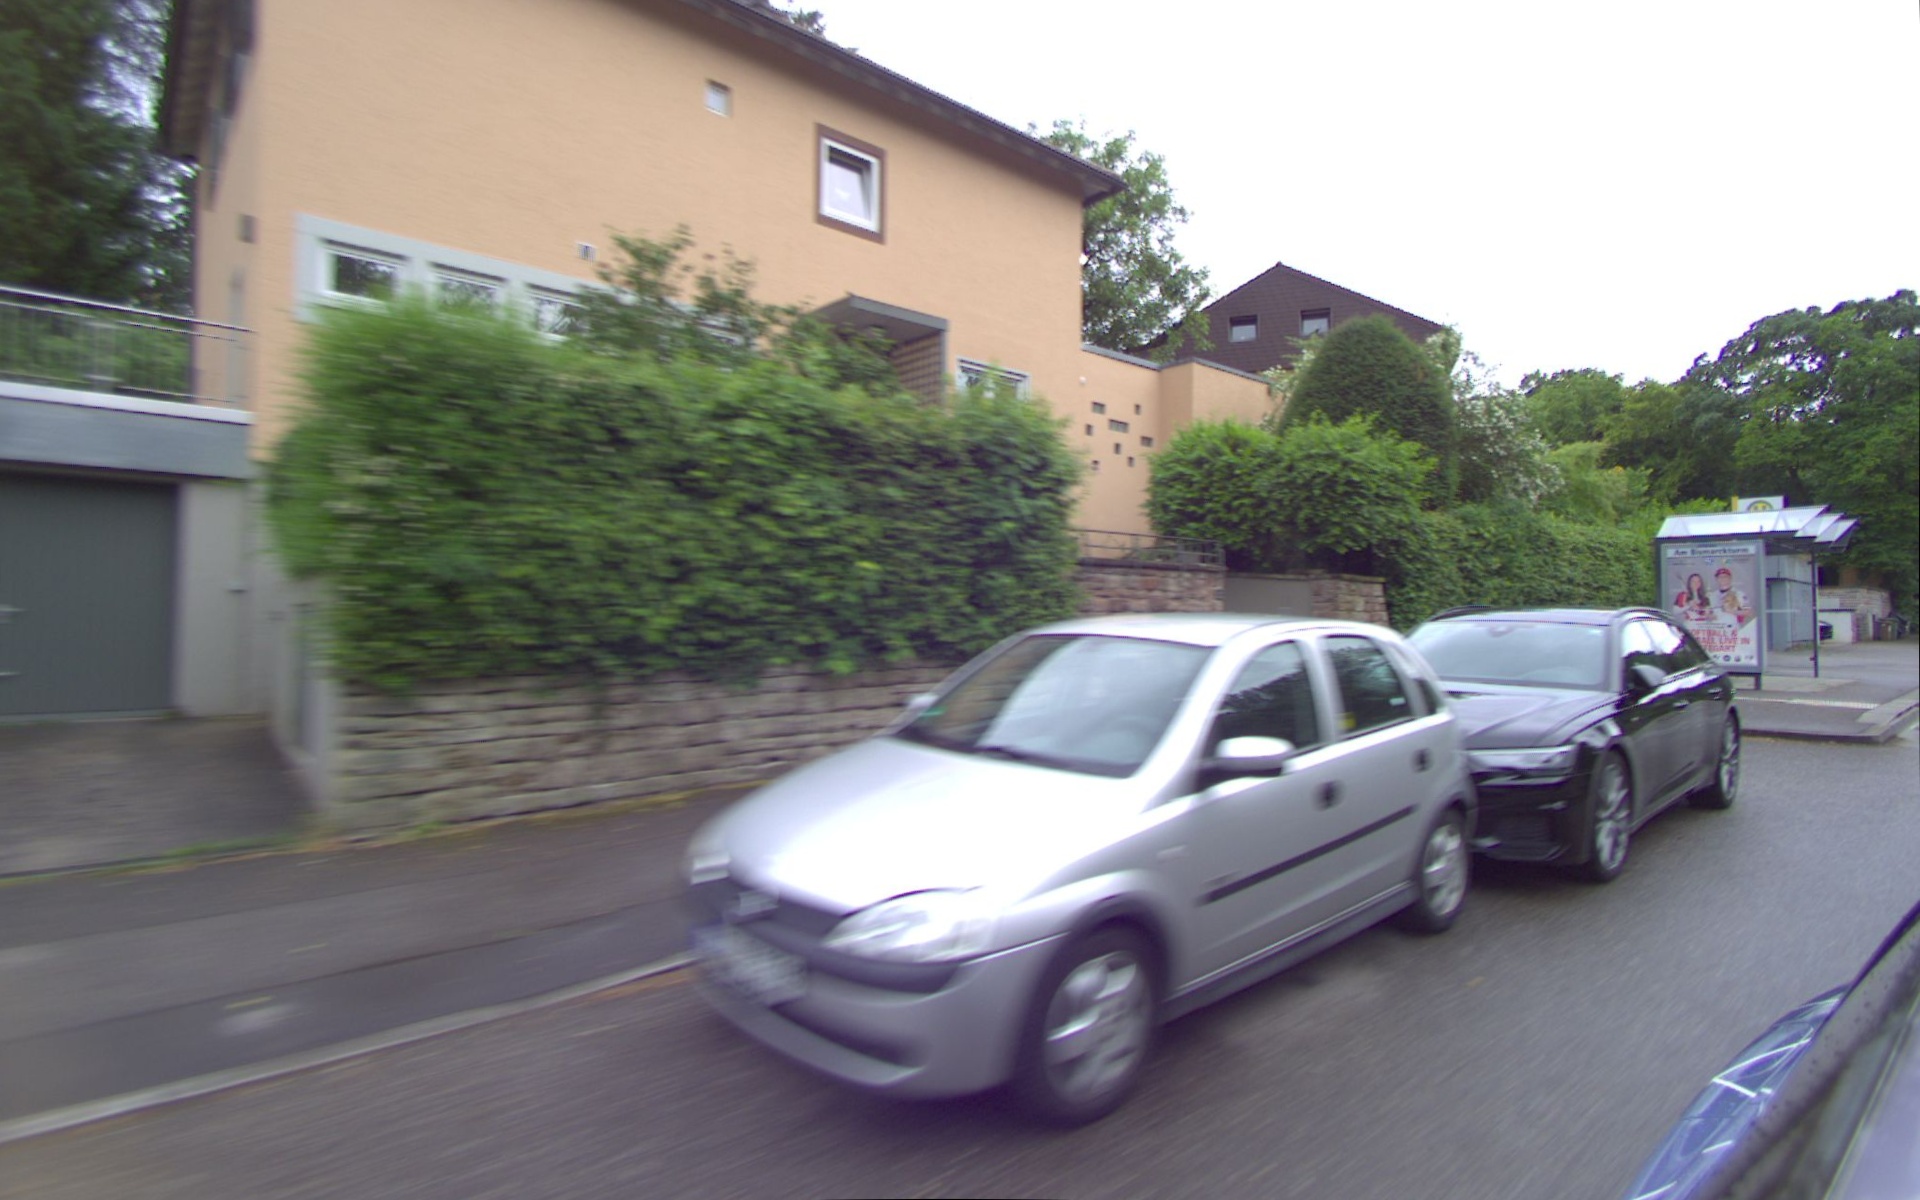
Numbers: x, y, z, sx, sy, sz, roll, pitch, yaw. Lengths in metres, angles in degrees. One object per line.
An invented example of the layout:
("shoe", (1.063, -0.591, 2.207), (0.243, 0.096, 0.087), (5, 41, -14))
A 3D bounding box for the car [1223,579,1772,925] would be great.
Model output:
("car", (3.862, 0.662, 6.843), (4.551, 1.566, 1.832), (-1, 1, -42))

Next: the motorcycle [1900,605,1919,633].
("motorcycle", (44.625, 0.890, 47.273), (1.977, 1.261, 0.776), (0, -2, -41))

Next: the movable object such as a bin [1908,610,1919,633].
("movable object such as a bin", (47.168, 1.048, 49.788), (0.689, 1.082, 0.666), (0, -2, -40))

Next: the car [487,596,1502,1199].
("car", (0.485, 0.720, 4.129), (4.033, 1.415, 1.815), (-1, 1, -42))

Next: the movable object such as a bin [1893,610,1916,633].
("movable object such as a bin", (43.296, 0.979, 46.414), (0.648, 1.017, 0.666), (0, -2, -40))

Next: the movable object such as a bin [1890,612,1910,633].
("movable object such as a bin", (42.704, 1.028, 45.984), (0.540, 0.949, 0.569), (0, -3, -40))

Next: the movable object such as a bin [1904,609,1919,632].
("movable object such as a bin", (45.684, 0.962, 48.387), (0.648, 1.082, 0.666), (0, -3, -40))

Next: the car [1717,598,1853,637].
("car", (34.693, 0.713, 42.631), (1.862, 1.526, 4.225), (1, 0, -41))
